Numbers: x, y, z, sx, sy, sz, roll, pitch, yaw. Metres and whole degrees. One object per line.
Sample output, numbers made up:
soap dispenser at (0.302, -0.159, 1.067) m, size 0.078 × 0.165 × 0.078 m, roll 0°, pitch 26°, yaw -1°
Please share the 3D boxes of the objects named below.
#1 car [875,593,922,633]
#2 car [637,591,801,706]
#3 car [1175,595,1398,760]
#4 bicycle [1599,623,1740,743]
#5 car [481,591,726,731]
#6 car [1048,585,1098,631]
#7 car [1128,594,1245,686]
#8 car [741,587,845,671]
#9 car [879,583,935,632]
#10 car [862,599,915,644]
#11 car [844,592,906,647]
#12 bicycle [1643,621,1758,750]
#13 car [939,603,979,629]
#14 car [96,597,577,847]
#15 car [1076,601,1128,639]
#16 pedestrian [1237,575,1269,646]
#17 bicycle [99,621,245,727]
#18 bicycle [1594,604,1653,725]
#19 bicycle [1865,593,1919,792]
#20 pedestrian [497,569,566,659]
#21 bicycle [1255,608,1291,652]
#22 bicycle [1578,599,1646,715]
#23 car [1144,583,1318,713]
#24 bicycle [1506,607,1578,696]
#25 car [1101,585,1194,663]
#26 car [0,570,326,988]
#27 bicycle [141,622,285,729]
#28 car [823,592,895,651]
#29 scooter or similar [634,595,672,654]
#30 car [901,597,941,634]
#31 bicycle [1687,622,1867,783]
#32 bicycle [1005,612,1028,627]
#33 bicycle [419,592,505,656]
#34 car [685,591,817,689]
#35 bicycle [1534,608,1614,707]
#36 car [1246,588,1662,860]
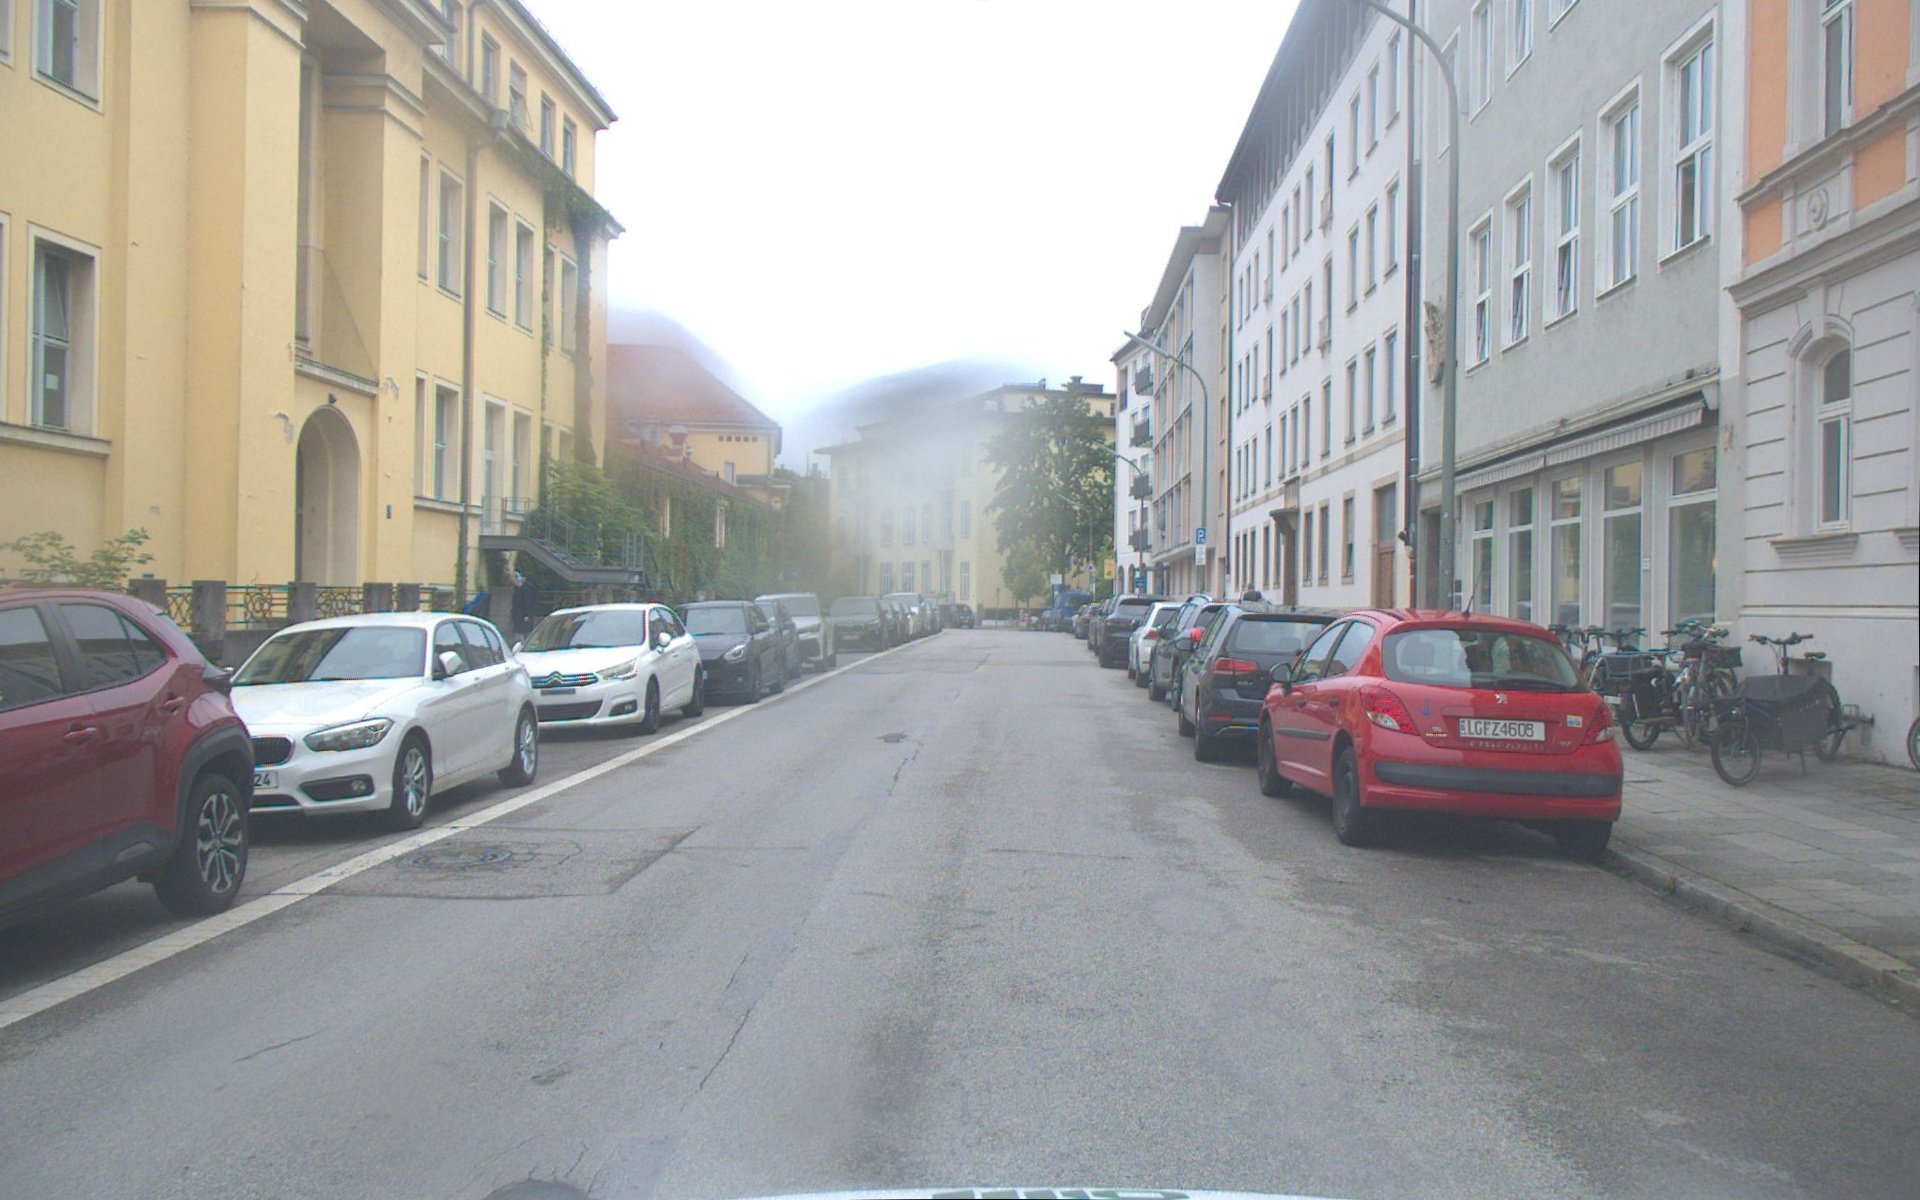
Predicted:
car at (-2.355, 0.493, 64.132) m, size 1.558 × 1.466 × 4.019 m, roll -2°, pitch 0°, yaw 1°
car at (-3.584, 0.696, 25.249) m, size 1.664 × 1.523 × 4.150 m, roll -3°, pitch 0°, yaw 2°
car at (3.188, 0.680, 16.894) m, size 1.652 × 1.426 × 4.366 m, roll 1°, pitch 0°, yaw 4°
bicycle at (6.907, 0.778, 16.067) m, size 1.830 × 1.086 × 0.508 m, roll 0°, pitch 0°, yaw -40°
car at (-4.151, 0.665, 20.033) m, size 1.747 × 1.457 × 4.653 m, roll 1°, pitch 0°, yaw 2°
car at (6.479, 0.488, 95.251) m, size 2.038 × 2.272 × 5.239 m, roll 5°, pitch -3°, yaw -4°
car at (3.992, 0.679, 29.738) m, size 1.638 × 1.454 × 4.531 m, roll 2°, pitch 0°, yaw 3°
car at (-3.490, 0.585, 35.332) m, size 1.710 × 1.662 × 4.856 m, roll -1°, pitch 0°, yaw 0°
car at (-2.185, 0.333, 69.589) m, size 1.847 × 1.922 × 4.775 m, roll -2°, pitch -1°, yaw 3°
car at (-2.508, 0.756, 58.875) m, size 1.570 × 1.455 × 4.252 m, roll -2°, pitch -1°, yaw 1°
car at (-2.722, 0.616, 53.805) m, size 1.688 × 1.658 × 4.466 m, roll -2°, pitch 0°, yaw 1°
bicycle at (6.946, 0.761, 15.469) m, size 0.610 × 1.108 × 1.807 m, roll 0°, pitch 0°, yaw 37°
car at (-0.128, 1.274, 132.079) m, size 1.736 × 1.907 × 4.354 m, roll 5°, pitch -1°, yaw -19°
car at (-4.357, 0.759, 12.452) m, size 1.757 × 1.454 × 4.665 m, roll -3°, pitch 0°, yaw 1°
car at (5.806, 0.818, 68.247) m, size 1.709 × 1.412 × 4.954 m, roll 3°, pitch 0°, yaw 0°
pedestrian at (7.586, 0.273, 42.862) m, size 0.707 × 1.794 × 0.905 m, roll 1°, pitch -2°, yaw 3°
bicycle at (-8.586, 0.783, 18.083) m, size 0.526 × 1.081 × 1.641 m, roll 1°, pitch 0°, yaw 12°
bicycle at (7.230, 0.685, 18.044) m, size 0.242 × 1.277 × 0.916 m, roll 0°, pitch 0°, yaw -2°
bicycle at (7.071, 0.655, 11.321) m, size 0.583 × 1.409 × 2.092 m, roll 0°, pitch 0°, yaw -1°
pedestrian at (-8.488, 0.272, 32.787) m, size 0.882 × 1.749 × 1.059 m, roll 0°, pitch 0°, yaw 18°
bicycle at (9.015, 0.850, 47.684) m, size 0.502 × 1.243 × 1.987 m, roll 0°, pitch 0°, yaw -4°
bicycle at (7.454, 0.629, 18.947) m, size 0.242 × 1.277 × 1.233 m, roll 0°, pitch 0°, yaw -2°
car at (3.750, 0.609, 23.545) m, size 1.671 × 1.620 × 4.361 m, roll 2°, pitch 0°, yaw -1°
bicycle at (8.138, 0.701, 23.177) m, size 0.376 × 1.178 × 1.950 m, roll 0°, pitch 0°, yaw 2°
car at (4.114, 0.518, 36.897) m, size 1.801 × 1.548 × 4.711 m, roll 2°, pitch 0°, yaw 4°
car at (-4.443, 0.682, 6.760) m, size 1.918 × 1.508 × 4.529 m, roll -2°, pitch 0°, yaw 0°
bicycle at (-8.071, 0.793, 17.933) m, size 0.526 × 1.081 × 1.641 m, roll 1°, pitch 0°, yaw 12°
car at (-2.938, 0.614, 48.951) m, size 1.752 × 1.614 × 4.818 m, roll -2°, pitch 0°, yaw 1°
scooter or similar at (-7.369, 0.583, 39.746) m, size 0.548 × 1.393 × 1.502 m, roll 0°, pitch 0°, yaw 3°
car at (-1.856, 0.762, 79.887) m, size 1.662 × 1.671 × 4.491 m, roll -2°, pitch -1°, yaw 1°
bicycle at (6.549, 0.776, 13.206) m, size 2.074 × 1.159 × 0.575 m, roll 0°, pitch 0°, yaw -42°
bicycle at (4.543, 1.572, 132.852) m, size 1.892 × 1.222 × 0.592 m, roll 1°, pitch -1°, yaw 39°
bicycle at (-10.210, 0.485, 33.911) m, size 1.592 × 1.290 × 0.527 m, roll 0°, pitch 0°, yaw 3°
car at (-3.754, 0.696, 30.370) m, size 1.668 × 1.528 × 4.495 m, roll -4°, pitch 0°, yaw 1°
bicycle at (7.843, 0.711, 21.192) m, size 0.387 × 1.197 × 1.816 m, roll 1°, pitch 0°, yaw 2°
car at (3.280, 0.722, 11.845) m, size 1.653 × 1.526 × 4.147 m, roll 3°, pitch 0°, yaw -1°
